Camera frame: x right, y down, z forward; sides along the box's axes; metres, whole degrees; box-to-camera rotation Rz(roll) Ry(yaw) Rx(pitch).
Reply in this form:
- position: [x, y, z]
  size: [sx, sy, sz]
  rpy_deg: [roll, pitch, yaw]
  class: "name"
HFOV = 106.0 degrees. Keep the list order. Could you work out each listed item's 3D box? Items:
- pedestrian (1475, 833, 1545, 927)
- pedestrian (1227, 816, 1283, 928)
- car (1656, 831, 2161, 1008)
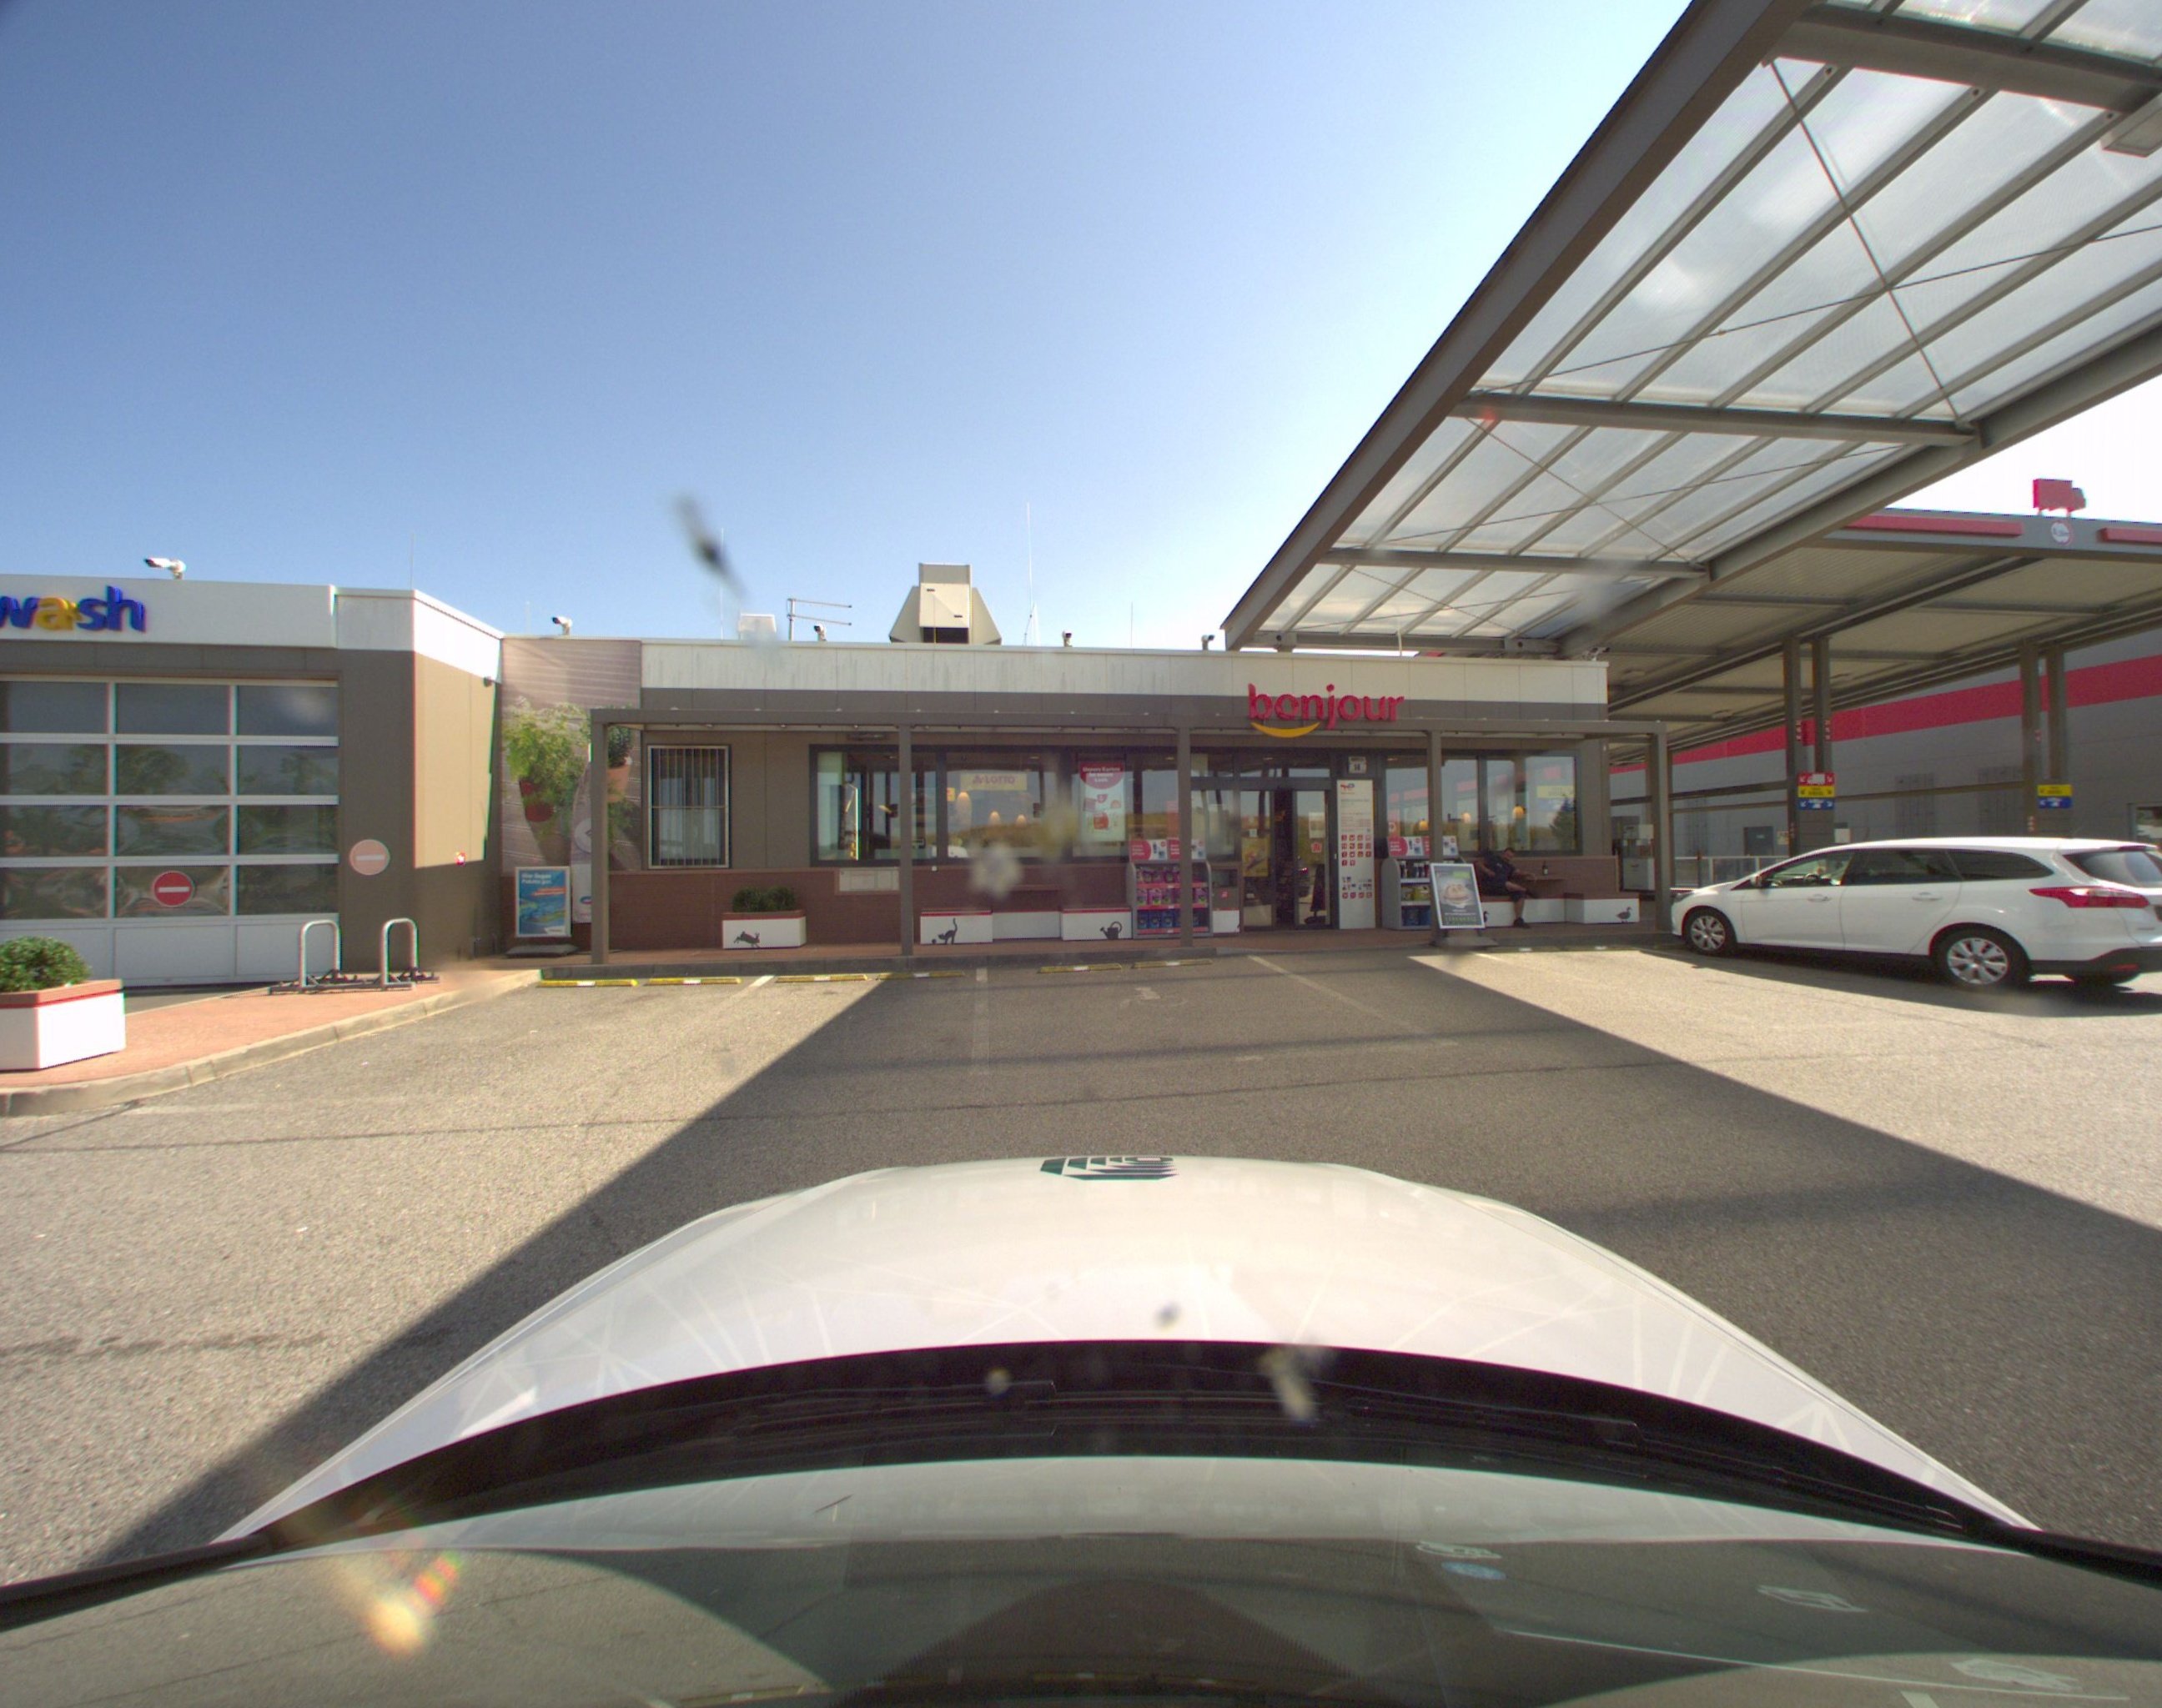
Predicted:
- position: [6.785, 0.392, 12.907]
  size: [0.701, 1.432, 0.671]
  rpy_deg: [-1, 0, -9]
  class: "pedestrian"
- position: [2.891, 0.288, 13.611]
  size: [0.699, 1.797, 0.862]
  rpy_deg: [-1, 0, -2]
  class: "pedestrian"
- position: [9.118, 0.529, 9.068]
  size: [1.832, 1.457, 4.301]
  rpy_deg: [-1, 0, -14]
  class: "car"
